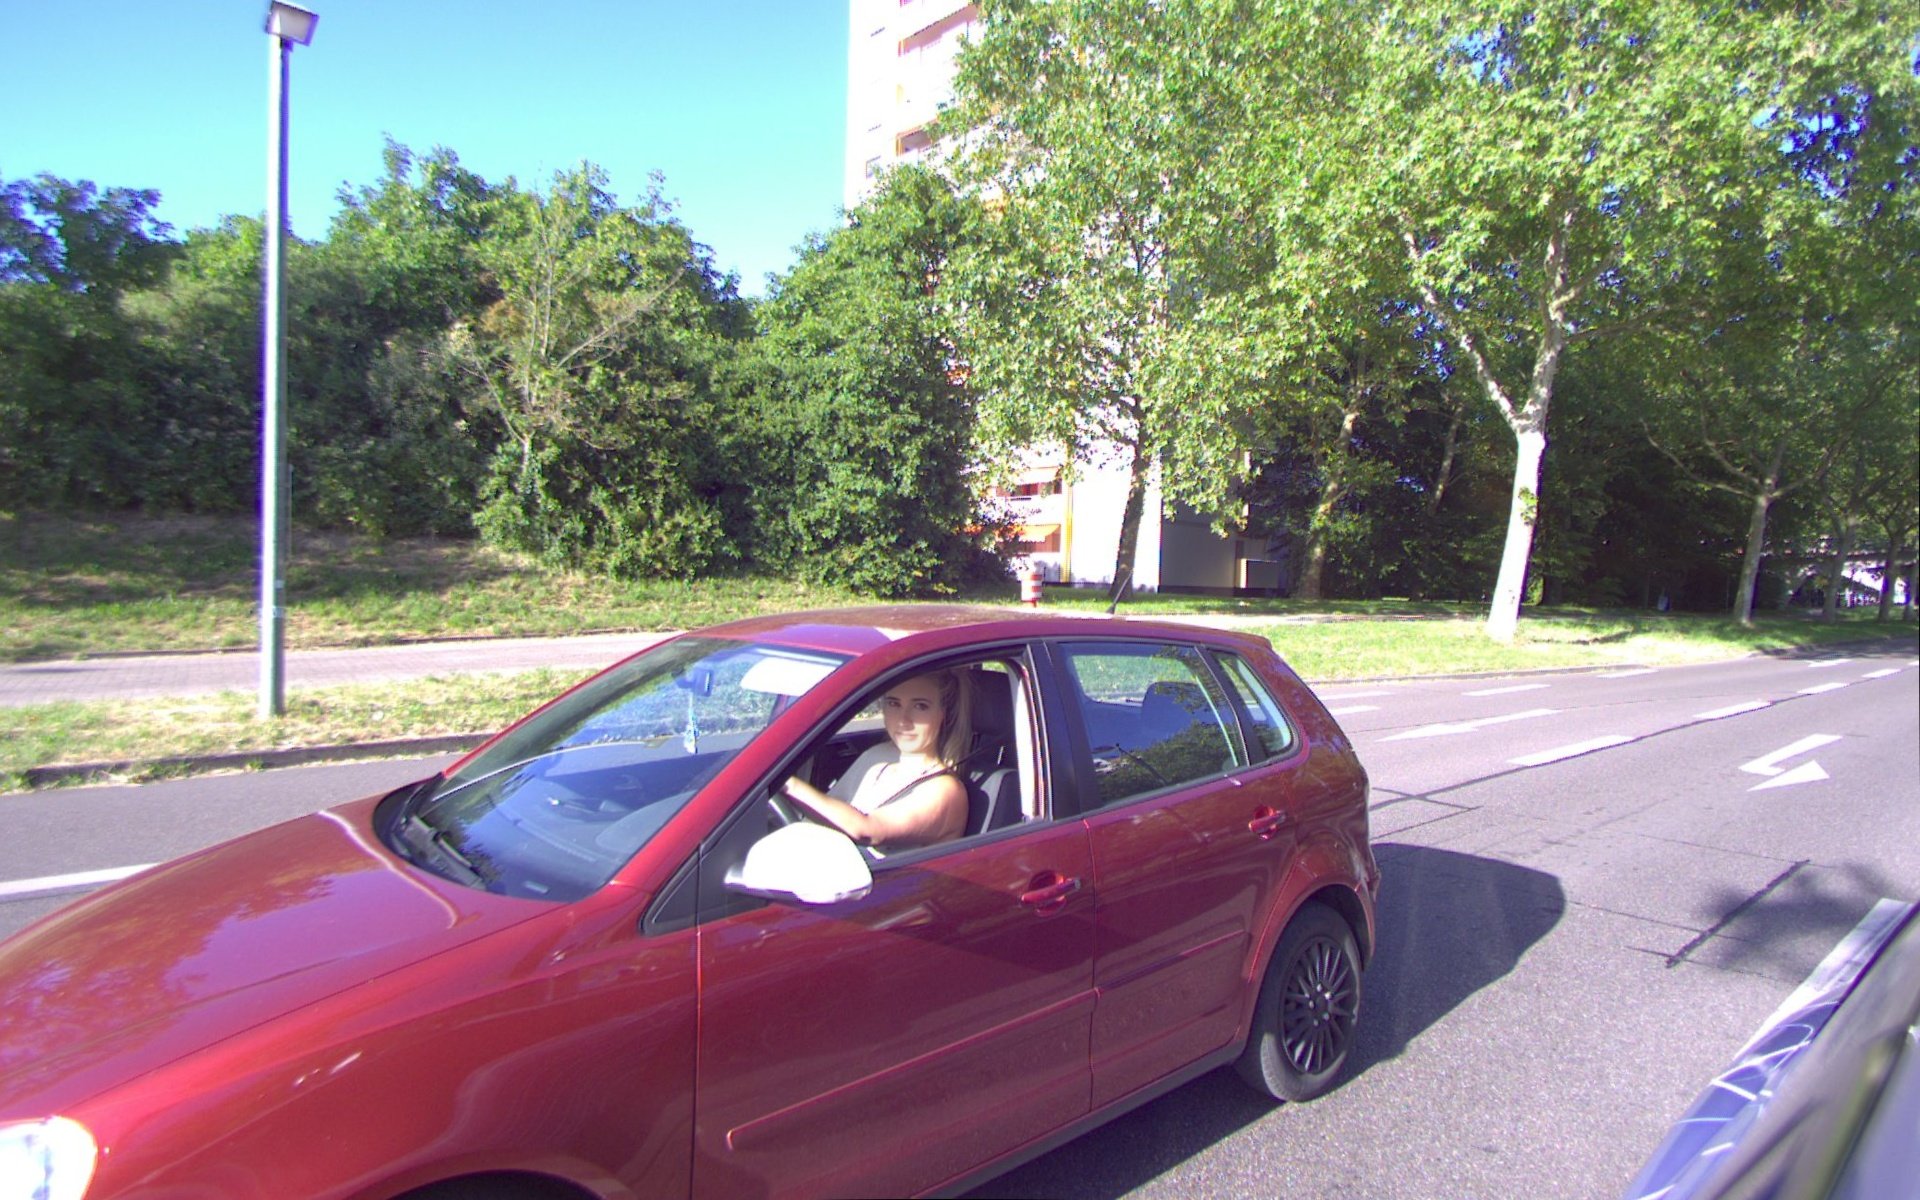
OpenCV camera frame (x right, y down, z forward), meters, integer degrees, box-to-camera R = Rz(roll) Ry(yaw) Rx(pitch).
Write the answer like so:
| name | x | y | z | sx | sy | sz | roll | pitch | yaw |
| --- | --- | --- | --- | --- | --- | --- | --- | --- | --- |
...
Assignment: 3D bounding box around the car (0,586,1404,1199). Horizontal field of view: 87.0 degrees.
| name | x | y | z | sx | sy | sz | roll | pitch | yaw |
| --- | --- | --- | --- | --- | --- | --- | --- | --- | --- |
| car | -0.450 | 0.710 | 2.714 | 3.624 | 1.479 | 1.579 | -1 | 0 | -40 |
